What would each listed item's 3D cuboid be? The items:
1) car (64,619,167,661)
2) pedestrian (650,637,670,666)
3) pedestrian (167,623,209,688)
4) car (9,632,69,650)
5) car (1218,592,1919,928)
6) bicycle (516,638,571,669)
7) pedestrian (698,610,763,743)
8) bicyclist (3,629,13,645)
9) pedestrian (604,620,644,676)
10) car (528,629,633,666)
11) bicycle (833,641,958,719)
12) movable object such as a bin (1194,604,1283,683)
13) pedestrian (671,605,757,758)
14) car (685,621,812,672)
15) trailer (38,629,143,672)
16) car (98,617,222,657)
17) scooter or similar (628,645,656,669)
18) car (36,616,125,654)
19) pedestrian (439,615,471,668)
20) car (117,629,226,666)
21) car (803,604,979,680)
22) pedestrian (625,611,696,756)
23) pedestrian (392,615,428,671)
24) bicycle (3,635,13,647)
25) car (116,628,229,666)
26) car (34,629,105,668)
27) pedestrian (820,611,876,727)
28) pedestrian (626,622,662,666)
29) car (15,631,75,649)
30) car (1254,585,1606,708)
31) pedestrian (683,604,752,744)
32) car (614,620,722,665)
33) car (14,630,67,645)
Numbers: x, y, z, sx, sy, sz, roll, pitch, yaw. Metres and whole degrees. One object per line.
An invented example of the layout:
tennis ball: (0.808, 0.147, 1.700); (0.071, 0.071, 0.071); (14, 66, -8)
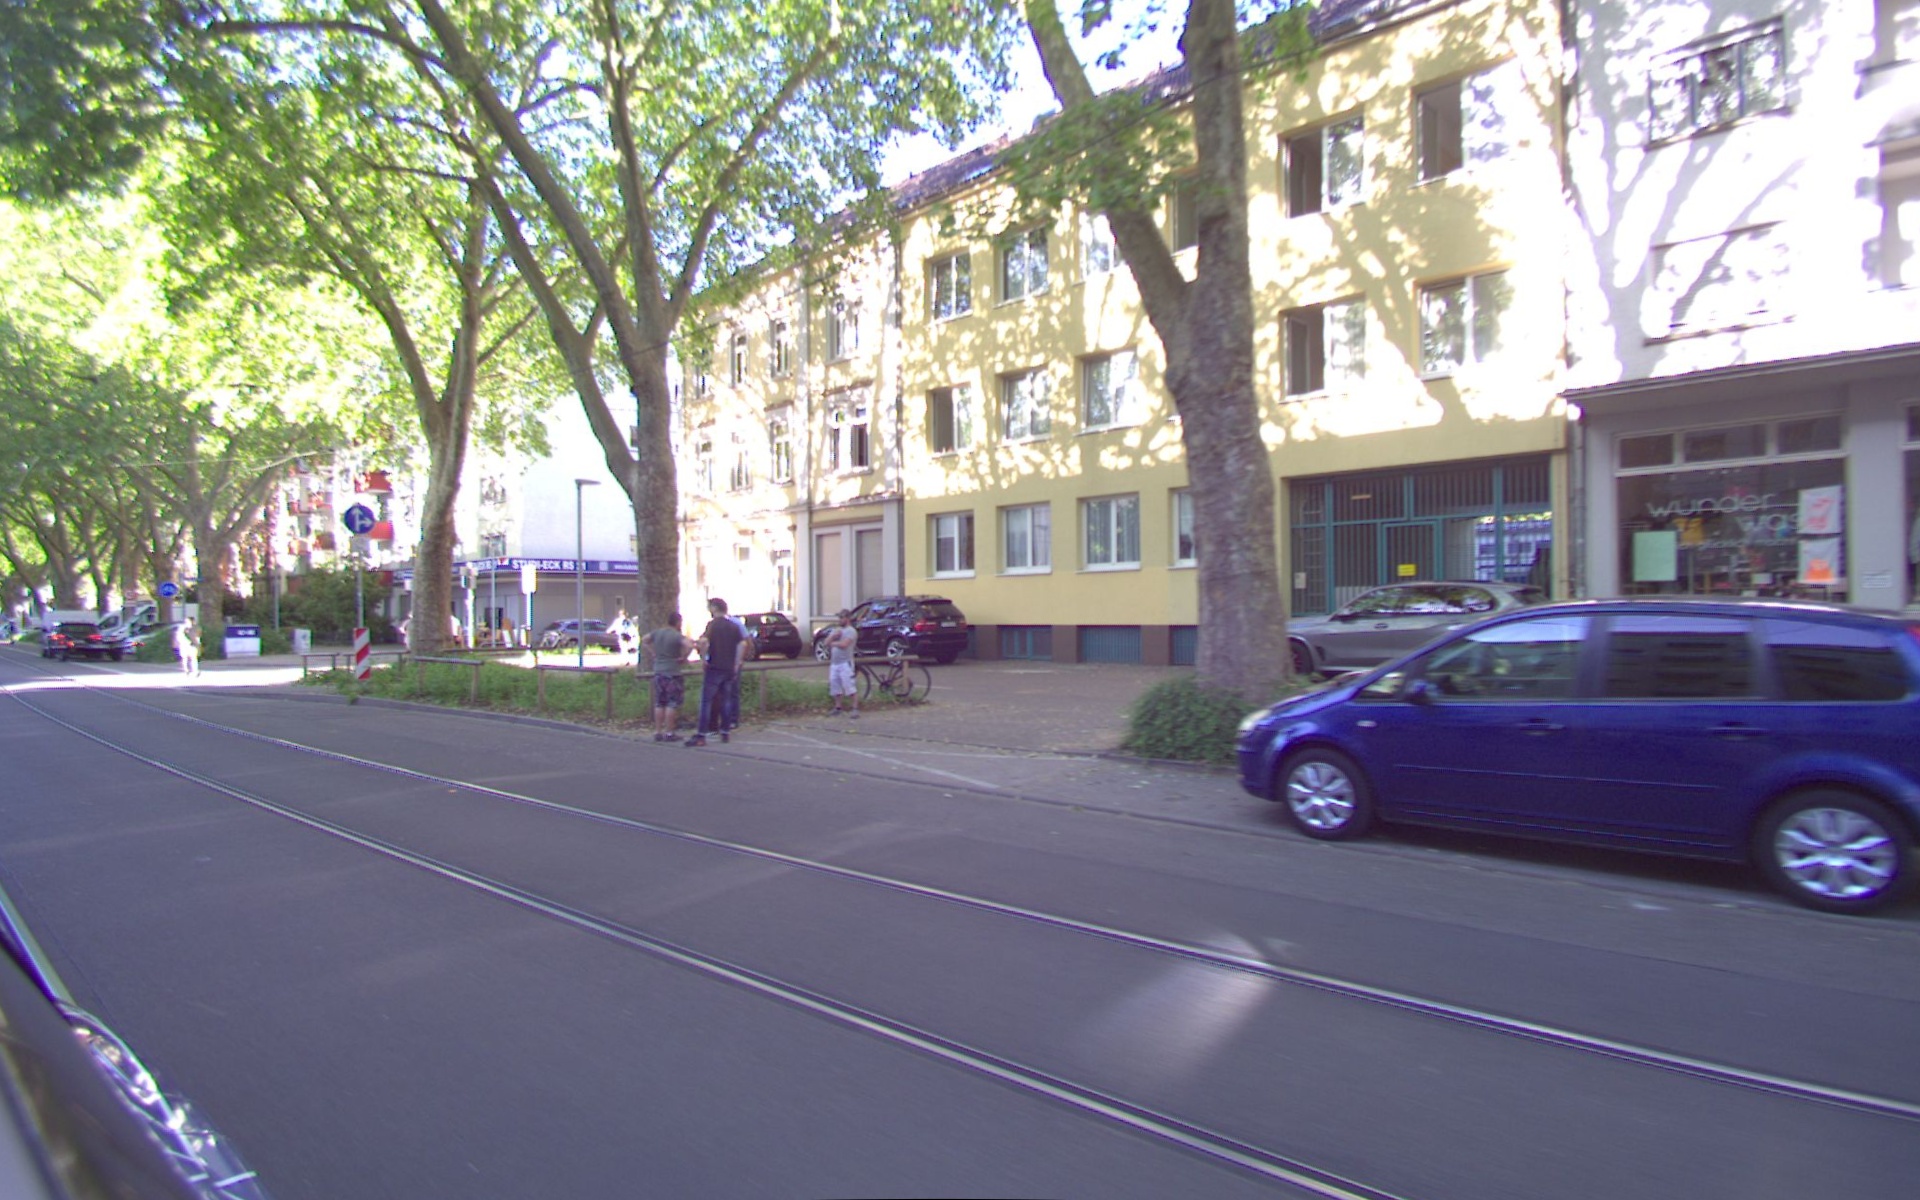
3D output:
car: (-51.301, 2.382, 61.508); (2.000, 2.323, 4.598); (-1, -1, 43)
pedestrian: (-10.981, 1.875, 37.054); (0.540, 1.048, 0.541); (-1, -1, 10)
pedestrian: (-21.924, 1.559, 28.732); (0.799, 1.805, 0.693); (-1, -1, 31)
car: (-86.601, 3.821, 95.198); (1.999, 1.478, 3.945); (-1, 0, 41)
car: (4.047, 0.768, 6.433); (4.283, 1.573, 1.896); (-1, -1, 42)
bicycle: (-15.765, 2.017, 38.351); (0.655, 1.070, 1.845); (-1, 0, 35)
pedestrian: (-3.111, 1.015, 13.771); (0.759, 1.748, 0.718); (-1, -1, -5)
bicyclist: (-73.155, 2.824, 77.766); (0.666, 1.222, 0.526); (-1, -1, 44)
pedestrian: (-10.195, 1.456, 30.708); (1.009, 1.650, 0.704); (-1, -1, 40)
car: (-17.212, 2.124, 46.024); (1.834, 1.489, 4.097); (-1, -1, 42)
bicycle: (-1.000, 1.210, 15.612); (1.820, 1.088, 0.571); (-1, -1, -20)
movable object such as a bin: (5.684, 0.862, 20.674); (1.343, 1.513, 1.217); (-1, -1, 42)
pedestrian: (-3.024, 0.968, 12.431); (0.771, 1.790, 0.704); (-1, -1, 43)
car: (-6.535, 1.384, 31.082); (3.998, 1.398, 1.761); (-1, -1, 41)
trailer: (-36.845, 2.107, 42.803); (6.582, 1.644, 2.420); (-1, -4, 41)
car: (-44.439, 2.002, 56.314); (1.997, 2.010, 5.071); (-1, 0, 38)
scooter or similar: (-10.908, 1.945, 34.679); (0.896, 0.759, 0.522); (-1, -1, 42)
car: (-62.115, 2.431, 71.542); (2.000, 2.552, 4.598); (-1, -1, 43)
pedestrian: (-17.451, 1.434, 34.988); (0.664, 1.793, 0.719); (-1, 0, 19)
car: (-38.863, 2.306, 49.939); (1.999, 1.657, 3.945); (-1, -1, 41)
car: (-1.873, 1.031, 26.223); (1.971, 1.750, 4.698); (-1, -1, -45)
pedestrian: (-3.762, 1.022, 12.765); (0.703, 1.748, 0.771); (-1, -1, -5)
pedestrian: (-17.913, 1.398, 32.978); (0.728, 1.770, 0.736); (-1, -1, 15)
bicycle: (-73.138, 3.125, 77.745); (1.557, 0.913, 0.526); (-1, -1, 44)
car: (-37.202, 2.178, 47.881); (1.908, 1.622, 3.945); (-1, -1, 41)
car: (-40.916, 2.221, 46.471); (4.180, 1.696, 1.902); (-1, -4, 41)
pedestrian: (-1.609, 0.970, 14.574); (0.759, 1.622, 0.715); (-1, -1, -5)
pedestrian: (-11.068, 1.524, 35.443); (1.069, 1.490, 0.764); (-1, -1, 42)
car: (-84.079, 3.638, 93.020); (1.999, 1.478, 3.945); (-1, 0, 41)
car: (7.611, 0.689, 16.764); (4.899, 1.746, 1.971); (-1, -1, 44)
pedestrian: (-3.135, 0.934, 13.142); (0.759, 1.748, 0.715); (-1, -1, -5)
car: (-12.211, 1.761, 42.492); (1.800, 1.650, 3.958); (-6, -4, 42)
car: (-96.573, 3.937, 106.277); (1.999, 1.478, 3.945); (-1, 0, 41)
